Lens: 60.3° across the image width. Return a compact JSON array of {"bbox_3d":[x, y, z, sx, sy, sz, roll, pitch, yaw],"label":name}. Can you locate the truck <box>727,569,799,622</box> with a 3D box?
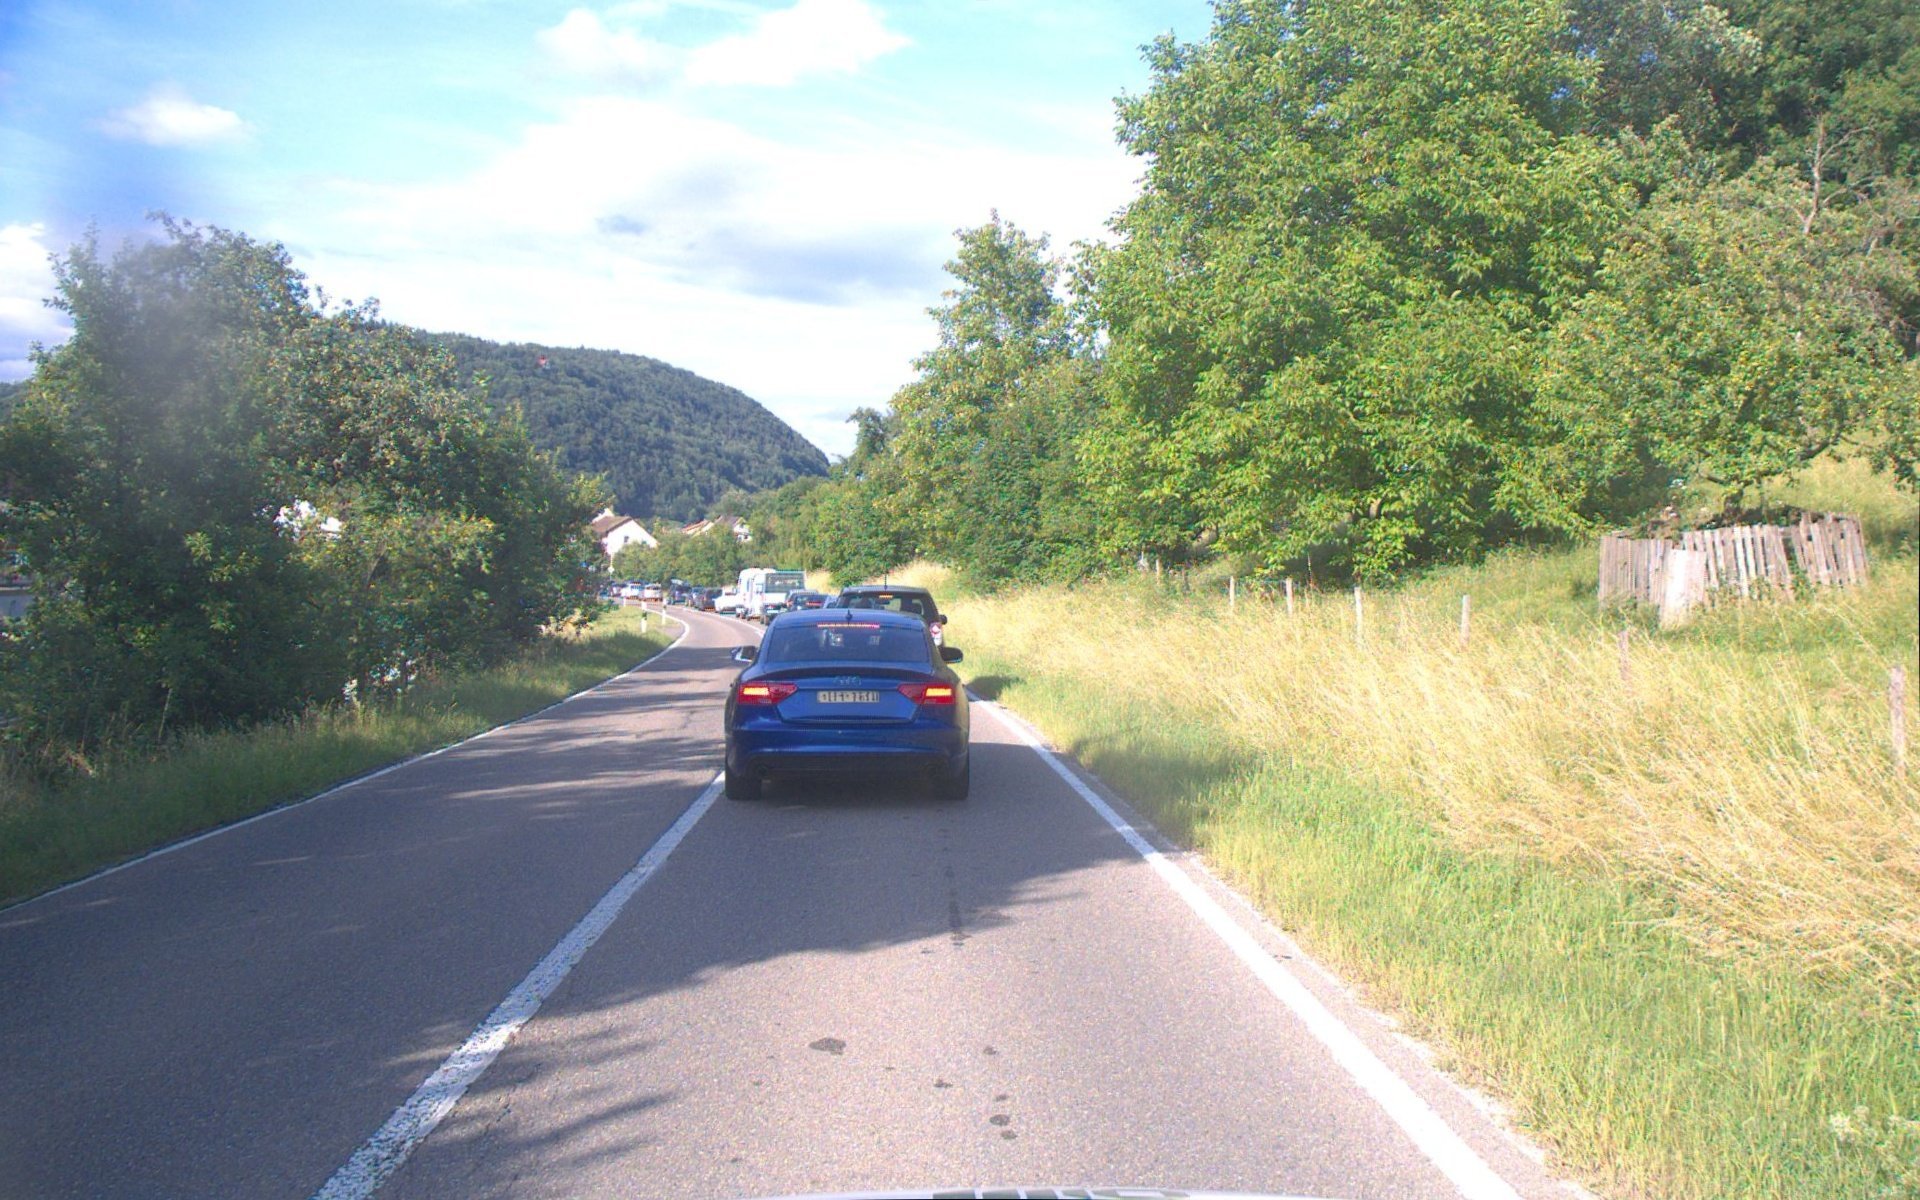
[{"bbox_3d":[-10.944,-0.267,90.990,2.814,2.712,10.610,1,0,-13],"label":"truck"}]

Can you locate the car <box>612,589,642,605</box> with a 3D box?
[{"bbox_3d":[-31.736,-0.307,157.524,1.968,1.508,3.969,1,0,-24],"label":"car"}]

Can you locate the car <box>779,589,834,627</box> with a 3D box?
[{"bbox_3d":[-6.296,0.329,67.473,1.957,1.508,3.991,1,0,-9],"label":"car"}]

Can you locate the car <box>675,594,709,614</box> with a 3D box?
[{"bbox_3d":[-20.153,0.305,124.320,1.963,1.508,3.979,1,0,-18],"label":"car"}]

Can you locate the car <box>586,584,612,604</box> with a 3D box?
[{"bbox_3d":[-38.056,-0.641,174.122,1.967,2.049,3.971,1,0,-23],"label":"car"}]

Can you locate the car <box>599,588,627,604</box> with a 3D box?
[{"bbox_3d":[-35.123,-0.403,167.525,1.968,1.508,3.969,1,0,-24],"label":"car"}]

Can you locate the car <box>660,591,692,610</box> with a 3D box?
[{"bbox_3d":[-22.677,0.041,132.029,1.963,1.508,3.979,1,0,-18],"label":"car"}]

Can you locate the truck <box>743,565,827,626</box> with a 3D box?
[{"bbox_3d":[-8.591,-0.230,79.951,2.814,2.712,10.359,1,0,-13],"label":"truck"}]

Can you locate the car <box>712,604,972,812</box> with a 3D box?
[{"bbox_3d":[-0.840,0.735,13.178,1.757,1.383,3.999,0,0,-1],"label":"car"}]

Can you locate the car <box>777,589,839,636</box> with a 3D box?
[{"bbox_3d":[-5.143,0.402,55.745,1.955,1.508,3.994,1,0,-7],"label":"car"}]

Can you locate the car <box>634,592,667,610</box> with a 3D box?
[{"bbox_3d":[-27.611,0.077,147.478,1.968,1.508,3.969,1,0,-24],"label":"car"}]

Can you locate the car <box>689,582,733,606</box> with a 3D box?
[{"bbox_3d":[-16.458,-0.380,109.076,1.966,1.508,3.973,1,0,-22],"label":"car"}]

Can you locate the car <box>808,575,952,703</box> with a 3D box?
[{"bbox_3d":[-1.165,0.541,24.675,1.953,1.732,3.998,1,0,-2],"label":"car"}]

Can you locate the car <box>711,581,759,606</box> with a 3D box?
[{"bbox_3d":[-13.834,-0.378,101.614,1.966,1.508,3.973,1,0,-22],"label":"car"}]

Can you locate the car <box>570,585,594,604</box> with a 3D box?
[{"bbox_3d":[-42.531,-0.601,185.886,1.967,2.049,3.971,1,0,-23],"label":"car"}]
